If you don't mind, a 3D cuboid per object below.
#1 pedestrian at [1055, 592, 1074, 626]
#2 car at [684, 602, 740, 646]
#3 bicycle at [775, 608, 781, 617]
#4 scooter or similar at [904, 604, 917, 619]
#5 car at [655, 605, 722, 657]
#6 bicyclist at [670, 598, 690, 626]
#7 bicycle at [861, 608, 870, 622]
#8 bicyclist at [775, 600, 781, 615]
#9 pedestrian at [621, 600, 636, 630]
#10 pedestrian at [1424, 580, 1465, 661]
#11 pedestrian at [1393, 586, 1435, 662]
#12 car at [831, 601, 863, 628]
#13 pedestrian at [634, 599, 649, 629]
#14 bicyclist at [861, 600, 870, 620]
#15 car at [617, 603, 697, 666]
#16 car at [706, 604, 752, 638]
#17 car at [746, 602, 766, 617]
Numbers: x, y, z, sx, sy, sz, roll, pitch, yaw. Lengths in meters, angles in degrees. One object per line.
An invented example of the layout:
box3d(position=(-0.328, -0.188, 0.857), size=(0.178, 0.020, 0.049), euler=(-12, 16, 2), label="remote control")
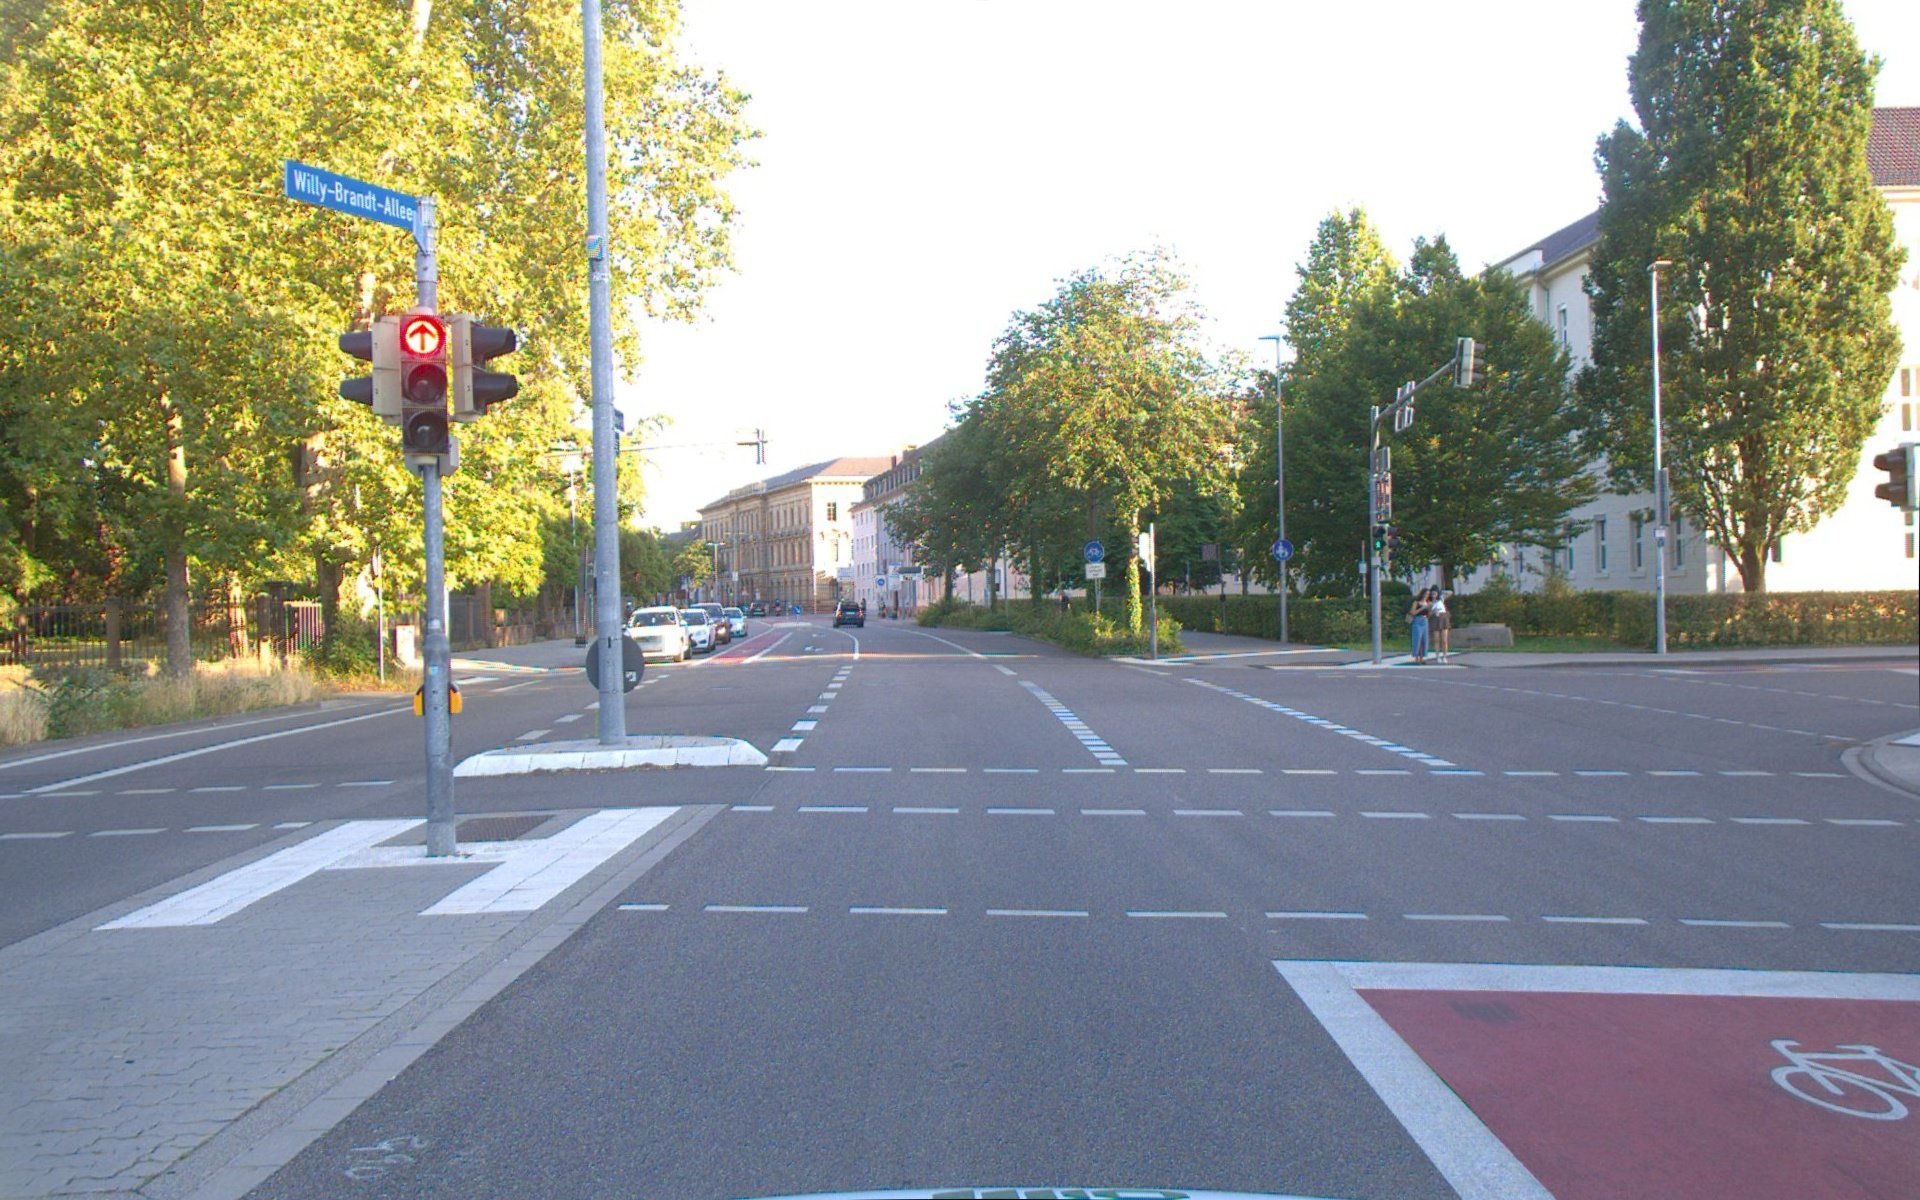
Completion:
box3d(position=(5.401, 0.462, 85.376), size=(0.756, 1.769, 0.805), euler=(-1, 0, -10), label="pedestrian")
box3d(position=(-10.216, 0.975, 68.426), size=(1.879, 1.653, 4.634), euler=(-3, 0, -5), label="car")
box3d(position=(-20.685, 1.404, 188.013), size=(0.640, 1.033, 2.193), euler=(1, 0, -9), label="bicycle")
box3d(position=(-4.373, 1.014, 145.263), size=(0.619, 1.360, 2.391), euler=(-1, 0, -14), label="scooter or similar")
box3d(position=(-9.508, 1.058, 58.188), size=(1.879, 1.611, 4.669), euler=(-3, 0, -5), label="car")
box3d(position=(-14.770, 0.640, 87.245), size=(0.838, 1.456, 0.943), euler=(-1, 0, -1), label="bicyclist")
box3d(position=(-7.324, 1.144, 128.438), size=(0.639, 1.033, 2.196), euler=(1, 0, -4), label="bicycle")
box3d(position=(-20.669, 0.832, 187.971), size=(0.640, 1.727, 0.955), euler=(1, -1, -10), label="bicyclist")
box3d(position=(-18.354, 0.817, 91.645), size=(0.667, 1.650, 0.688), euler=(-1, 0, -1), label="pedestrian")
box3d(position=(10.848, 0.444, 37.034), size=(0.667, 1.784, 0.688), euler=(-1, 0, -1), label="pedestrian")
box3d(position=(10.159, 0.525, 37.021), size=(0.667, 1.650, 0.845), euler=(-1, 0, -1), label="pedestrian")
box3d(position=(-6.715, 0.850, 98.827), size=(1.830, 1.536, 3.998), euler=(-1, 0, -3), label="car")
box3d(position=(-17.649, 0.781, 91.616), size=(0.667, 1.650, 0.688), euler=(-1, 0, -5), label="pedestrian")
box3d(position=(-7.316, 0.783, 128.378), size=(0.639, 1.501, 0.940), euler=(1, 0, -5), label="bicyclist")
box3d(position=(-9.147, 1.009, 50.208), size=(1.879, 1.725, 4.422), euler=(-3, 0, -5), label="car")
box3d(position=(-11.185, 0.994, 80.261), size=(1.879, 1.442, 4.765), euler=(-3, 0, -5), label="car")
box3d(position=(-22.575, 1.063, 183.041), size=(1.882, 1.442, 4.758), euler=(-3, 0, -11), label="car")
